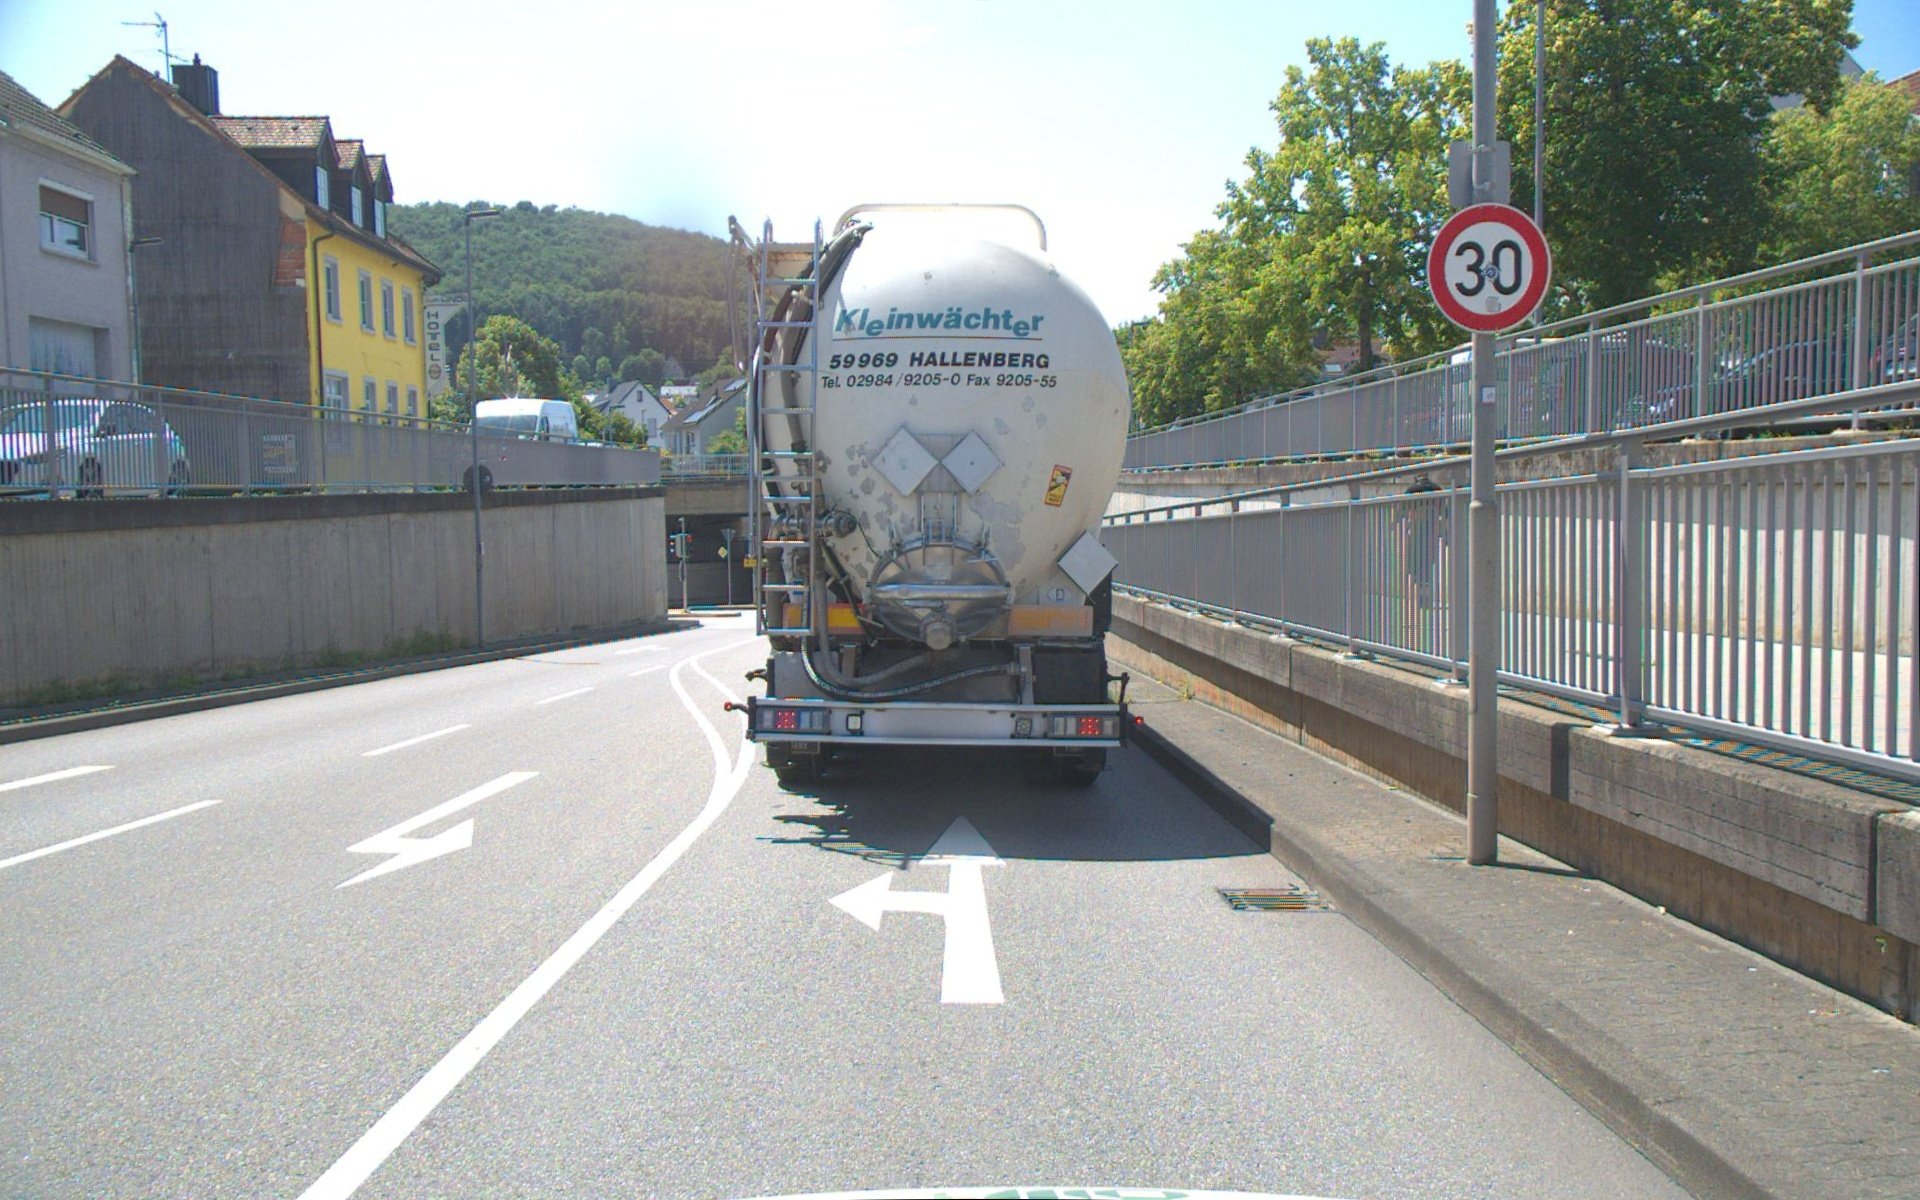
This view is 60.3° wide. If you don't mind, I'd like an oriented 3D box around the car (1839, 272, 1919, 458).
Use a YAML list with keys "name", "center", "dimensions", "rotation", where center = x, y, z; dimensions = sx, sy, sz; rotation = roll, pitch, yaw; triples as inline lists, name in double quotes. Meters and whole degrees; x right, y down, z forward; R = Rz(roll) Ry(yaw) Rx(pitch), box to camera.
- name: "car"
  center: [10.086, -2.044, 14.262]
  dimensions: [4.118, 1.524, 1.687]
  rotation: [-1, 4, 0]

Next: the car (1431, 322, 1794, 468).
- name: "car"
  center: [10.278, -3.218, 26.342]
  dimensions: [5.007, 2.098, 1.989]
  rotation: [-1, 4, 0]

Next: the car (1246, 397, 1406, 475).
- name: "car"
  center: [9.541, -4.273, 43.265]
  dimensions: [3.825, 1.917, 1.687]
  rotation: [-1, 4, 0]

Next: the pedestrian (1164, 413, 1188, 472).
- name: "pedestrian"
  center: [6.718, -4.908, 51.571]
  dimensions: [0.659, 1.810, 0.594]
  rotation: [-1, 3, 1]

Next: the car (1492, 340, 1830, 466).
- name: "car"
  center: [9.908, -2.773, 23.596]
  dimensions: [4.118, 1.623, 1.687]
  rotation: [-1, 4, 0]

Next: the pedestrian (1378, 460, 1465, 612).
- name: "pedestrian"
  center: [5.656, -0.776, 20.300]
  dimensions: [0.819, 1.813, 0.788]
  rotation: [-1, 1, -1]

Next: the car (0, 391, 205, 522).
- name: "car"
  center: [-11.456, -1.795, 21.036]
  dimensions: [1.776, 1.487, 4.311]
  rotation: [1, 4, -1]

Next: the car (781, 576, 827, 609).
- name: "car"
  center: [-7.234, -0.359, 77.041]
  dimensions: [1.724, 1.515, 4.368]
  rotation: [0, 1, 0]

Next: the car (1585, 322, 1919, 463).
- name: "car"
  center: [9.938, -2.467, 19.875]
  dimensions: [4.197, 1.524, 1.749]
  rotation: [-1, 4, 0]

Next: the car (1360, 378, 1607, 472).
- name: "car"
  center: [9.793, -3.274, 31.116]
  dimensions: [4.118, 1.623, 1.687]
  rotation: [-1, 4, 0]

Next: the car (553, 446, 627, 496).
- name: "car"
  center: [-11.802, -4.116, 52.947]
  dimensions: [1.586, 1.526, 4.045]
  rotation: [1, 4, -2]

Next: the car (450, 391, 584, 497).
- name: "car"
  center: [-11.582, -4.034, 43.686]
  dimensions: [2.023, 2.580, 5.663]
  rotation: [1, 4, 0]

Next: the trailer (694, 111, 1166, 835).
- name: "trailer"
  center: [-0.155, -0.771, 16.136]
  dimensions: [2.679, 4.135, 13.313]
  rotation: [0, 0, 0]
